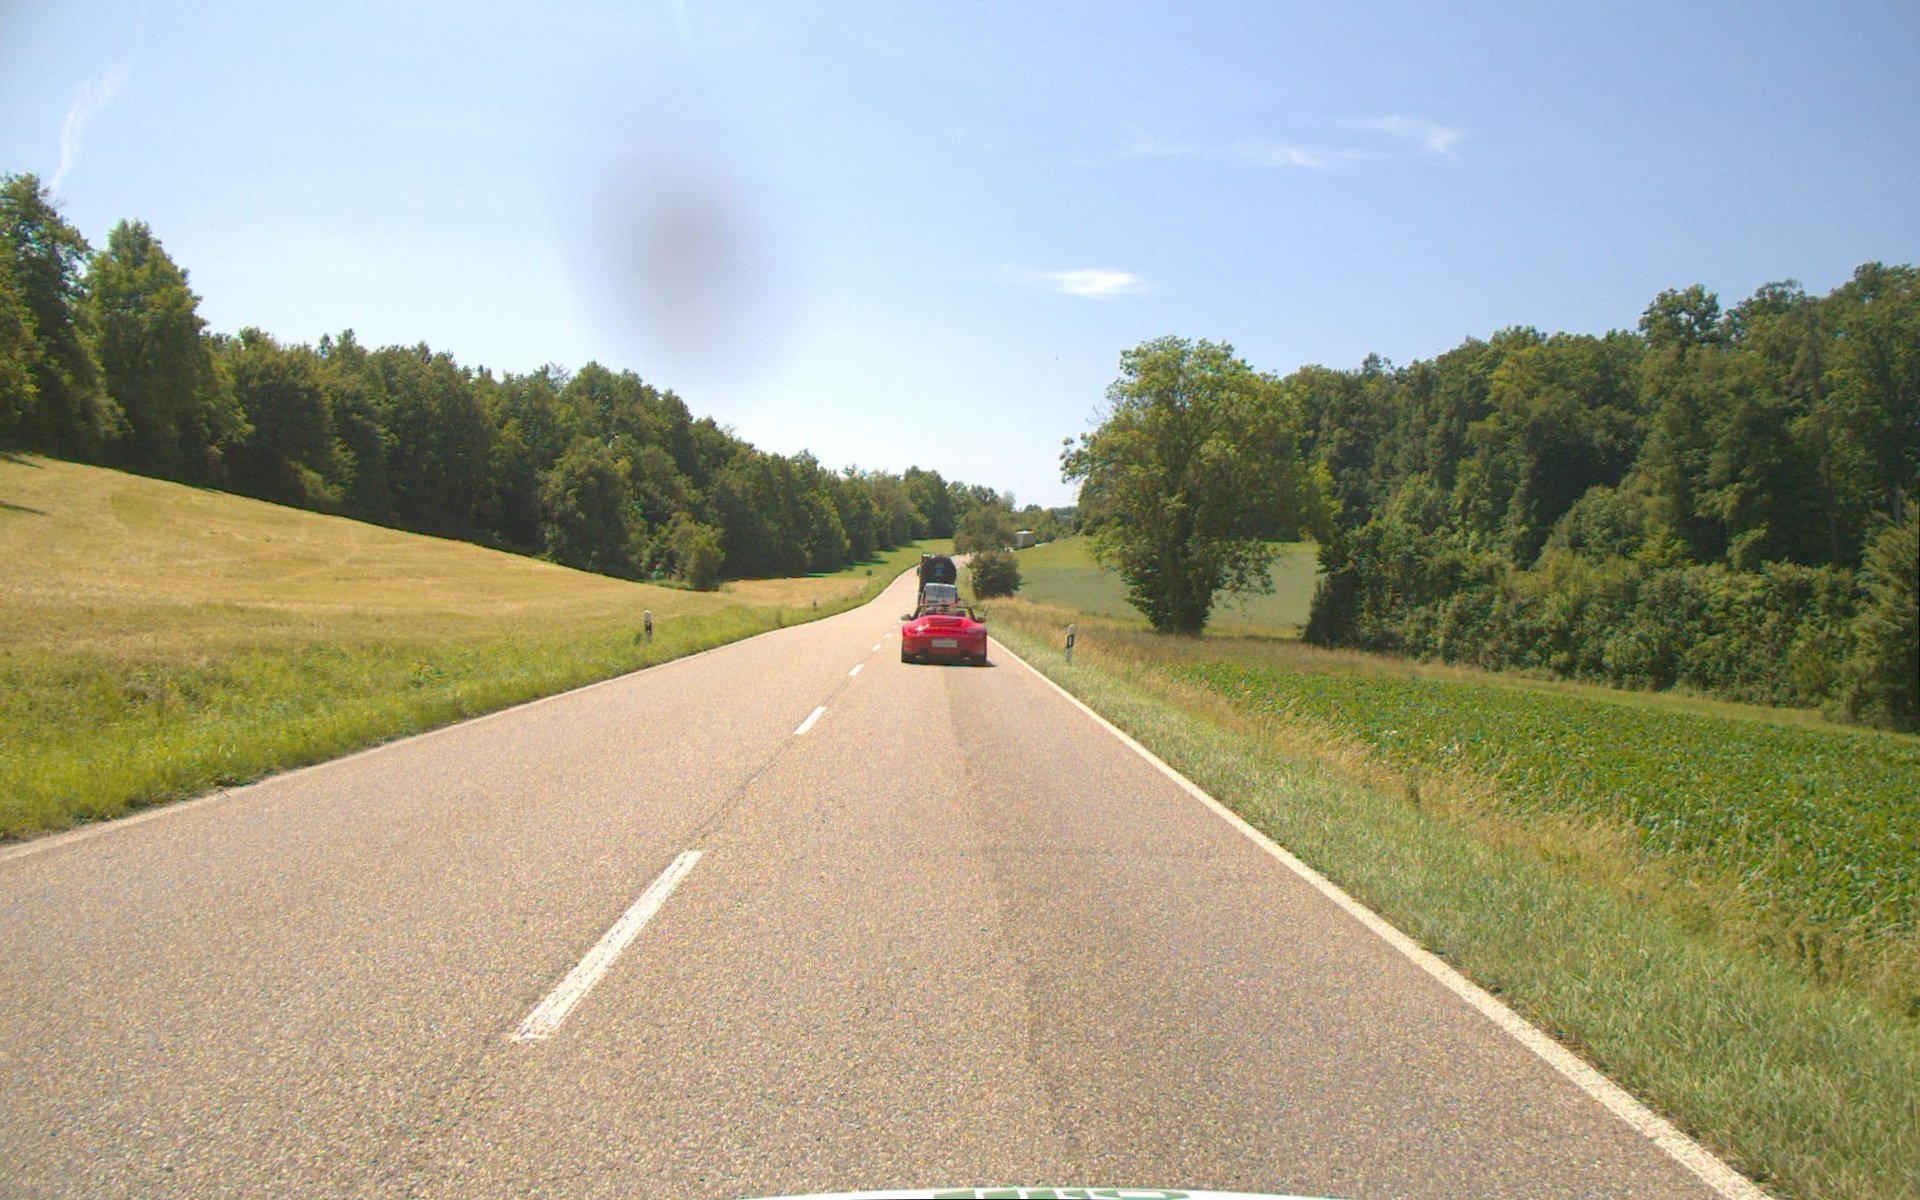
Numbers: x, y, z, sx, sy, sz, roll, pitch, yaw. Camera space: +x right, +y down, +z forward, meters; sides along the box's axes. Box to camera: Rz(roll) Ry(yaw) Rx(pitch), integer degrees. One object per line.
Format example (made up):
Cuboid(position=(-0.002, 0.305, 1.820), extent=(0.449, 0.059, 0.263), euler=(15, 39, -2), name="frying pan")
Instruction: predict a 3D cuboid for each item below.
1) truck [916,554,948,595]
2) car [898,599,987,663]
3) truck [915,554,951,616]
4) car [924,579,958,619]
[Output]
Cuboid(position=(-3.502, -3.209, 204.206), extent=(3.650, 4.741, 12.027), euler=(1, 2, -2), name="truck")
Cuboid(position=(-0.404, 0.648, 36.339), extent=(1.844, 1.277, 4.008), euler=(1, 0, -1), name="car")
Cuboid(position=(-1.991, -1.196, 118.856), extent=(2.355, 4.120, 12.547), euler=(0, 2, -2), name="truck")
Cuboid(position=(-0.949, -0.066, 82.790), extent=(1.644, 1.934, 4.009), euler=(0, 0, 0), name="car")
